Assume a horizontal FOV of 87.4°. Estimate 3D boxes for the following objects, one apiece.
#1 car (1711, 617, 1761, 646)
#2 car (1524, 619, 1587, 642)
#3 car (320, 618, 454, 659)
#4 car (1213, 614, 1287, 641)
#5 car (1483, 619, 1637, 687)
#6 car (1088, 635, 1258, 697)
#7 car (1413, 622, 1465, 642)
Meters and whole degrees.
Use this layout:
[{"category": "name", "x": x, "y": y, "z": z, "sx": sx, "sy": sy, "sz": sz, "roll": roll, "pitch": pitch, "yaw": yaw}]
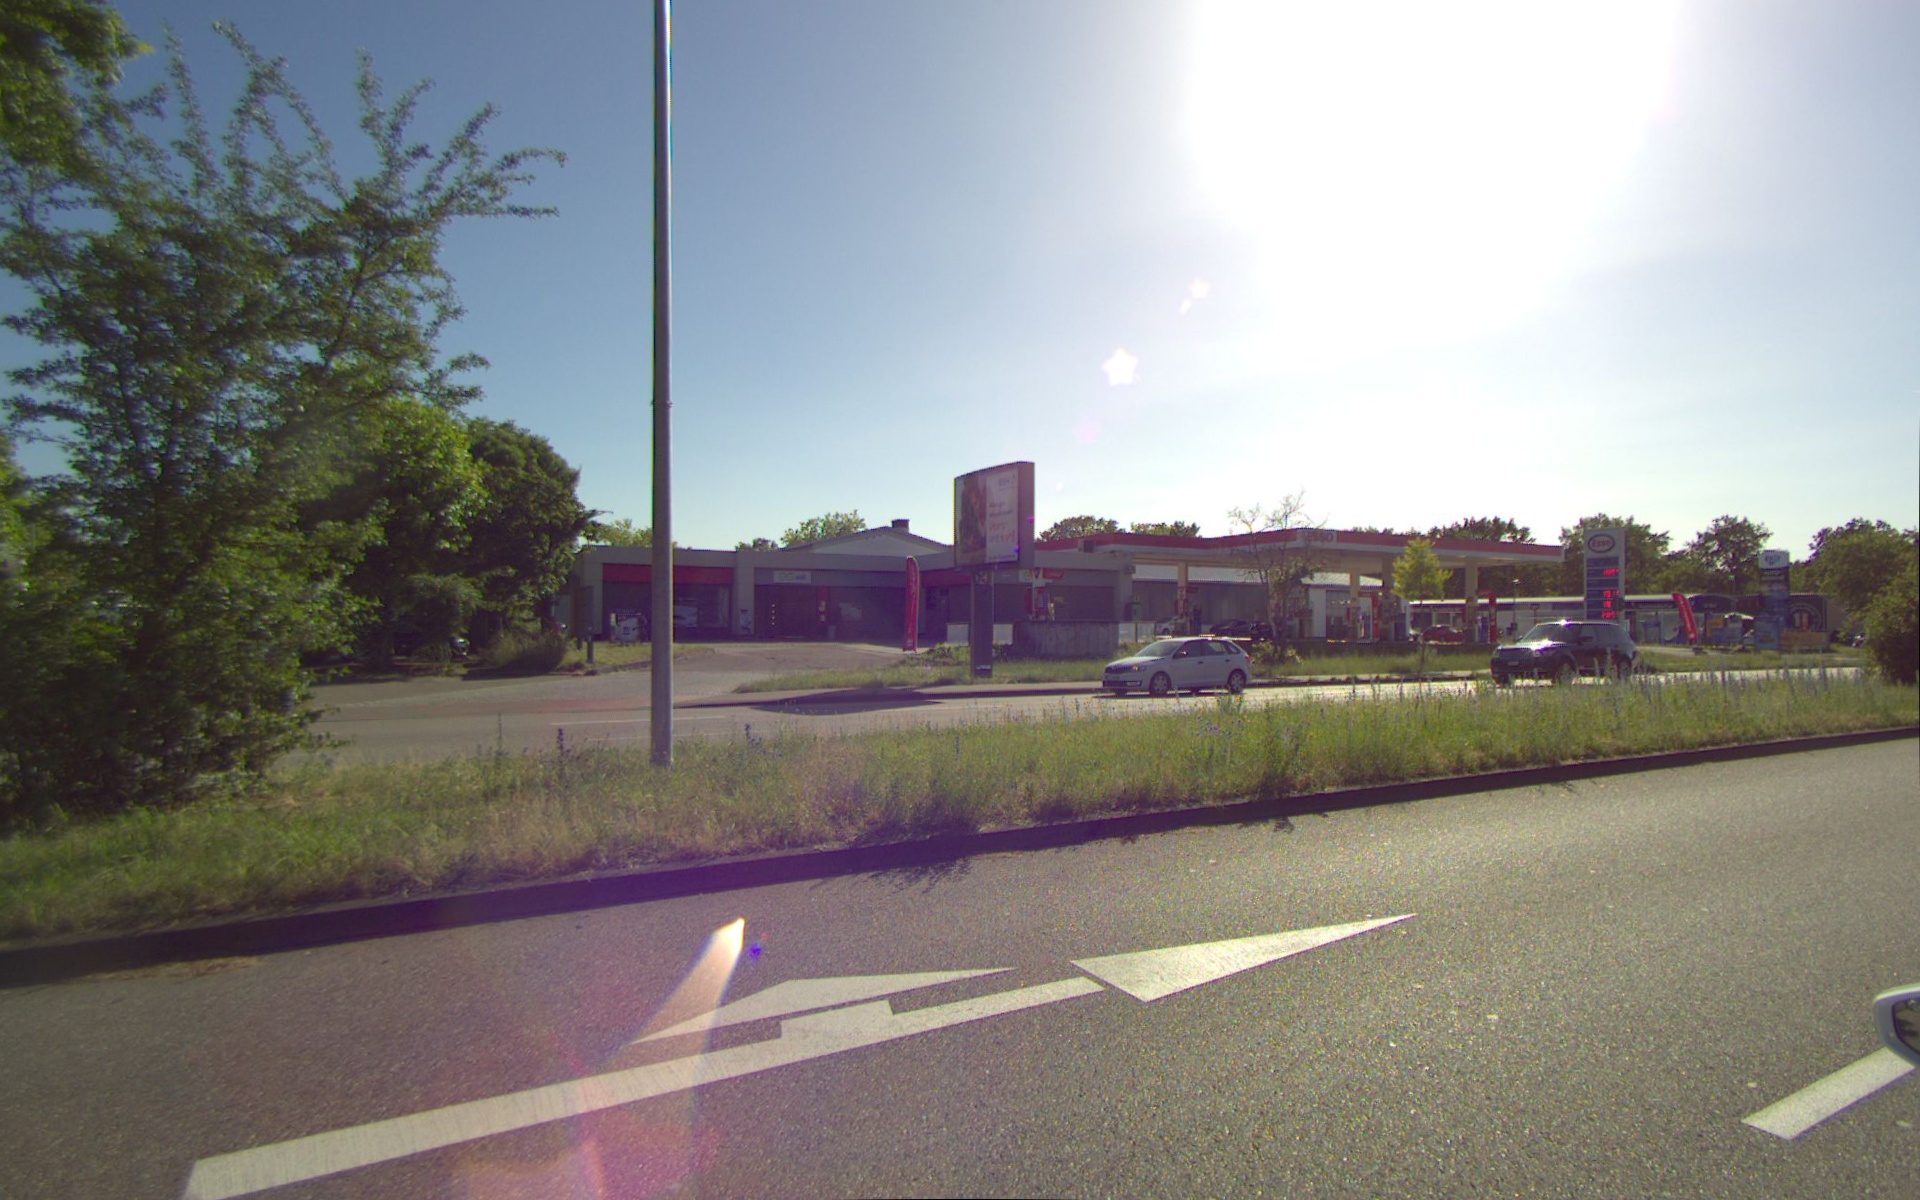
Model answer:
[{"category": "car", "x": 60.381, "y": 2.437, "z": 78.149, "sx": 3.954, "sy": 2.239, "sz": 1.810, "roll": 1, "pitch": -1, "yaw": -31}, {"category": "car", "x": 51.984, "y": 2.631, "z": 87.761, "sx": 1.978, "sy": 1.867, "sz": 4.361, "roll": 1, "pitch": -1, "yaw": -32}, {"category": "car", "x": -19.590, "y": 1.301, "z": 34.457, "sx": 3.885, "sy": 1.327, "sz": 1.779, "roll": 1, "pitch": -1, "yaw": -30}, {"category": "car", "x": 16.391, "y": 1.534, "z": 56.938, "sx": 1.971, "sy": 1.494, "sz": 3.979, "roll": 1, "pitch": -1, "yaw": -23}, {"category": "car", "x": 17.398, "y": 1.535, "z": 29.072, "sx": 4.615, "sy": 1.825, "sz": 1.732, "roll": 1, "pitch": -4, "yaw": -30}, {"category": "car", "x": 5.474, "y": 1.644, "z": 25.707, "sx": 4.159, "sy": 1.474, "sz": 1.732, "roll": 1, "pitch": -3, "yaw": -30}, {"category": "car", "x": 39.867, "y": 2.651, "z": 83.620, "sx": 4.241, "sy": 1.570, "sz": 1.803, "roll": 1, "pitch": -1, "yaw": -29}]
